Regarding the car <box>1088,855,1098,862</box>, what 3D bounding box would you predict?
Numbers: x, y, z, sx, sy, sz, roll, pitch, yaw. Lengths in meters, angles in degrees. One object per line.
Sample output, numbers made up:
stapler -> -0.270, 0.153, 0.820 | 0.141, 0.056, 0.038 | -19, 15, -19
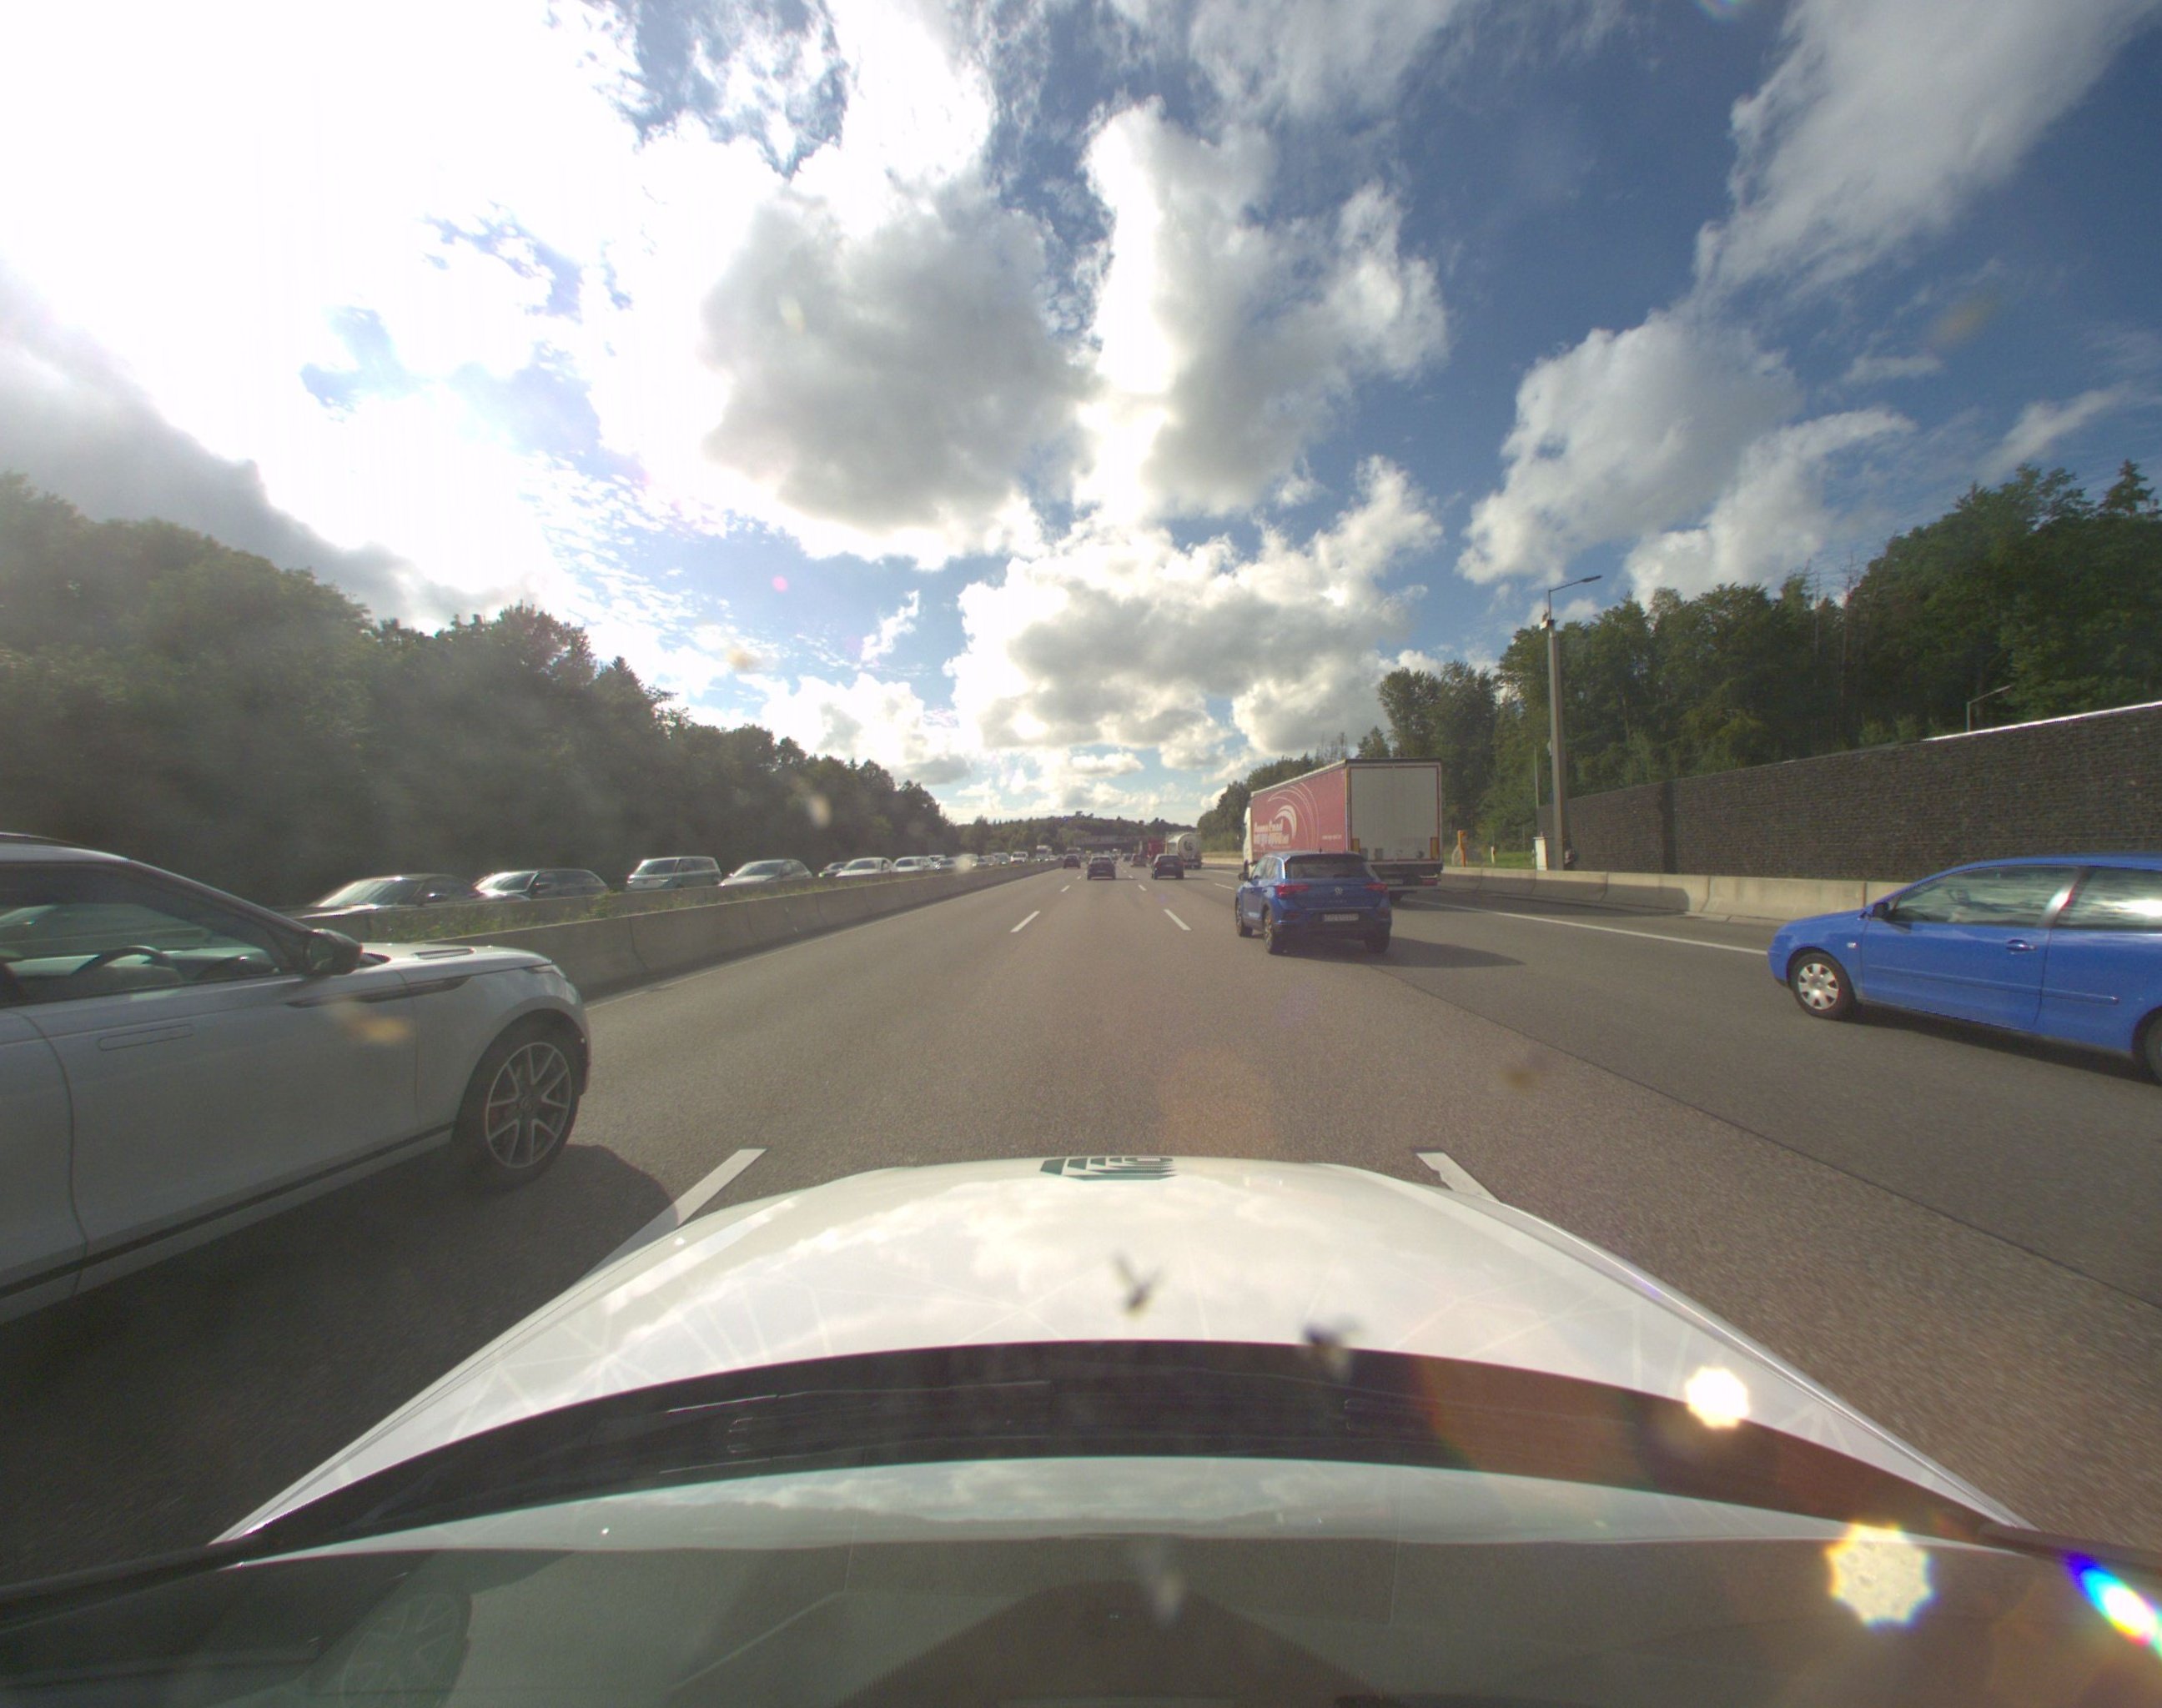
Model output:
car -> 2.916, 1.086, 197.834 | 2.146, 1.776, 4.002 | 0, -1, 2

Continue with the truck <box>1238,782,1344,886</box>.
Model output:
truck -> 8.787, -0.691, 34.812 | 3.069, 4.064, 6.071 | 0, -2, 1

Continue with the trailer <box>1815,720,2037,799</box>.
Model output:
trailer -> 28.209, -3.066, 27.508 | 2.196, 2.013, 4.970 | -2, 0, -3

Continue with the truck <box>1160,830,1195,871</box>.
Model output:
truck -> 10.357, -0.309, 88.088 | 3.034, 4.160, 7.129 | -1, -1, 2

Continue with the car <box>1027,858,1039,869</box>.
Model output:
car -> -9.379, 1.859, 158.884 | 1.985, 2.014, 4.002 | -1, -2, 3

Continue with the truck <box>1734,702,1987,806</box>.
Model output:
truck -> 21.044, -2.588, 22.439 | 1.985, 2.014, 5.411 | -1, -2, 3

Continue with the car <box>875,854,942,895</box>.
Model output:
car -> -8.273, 1.011, 39.520 | 1.985, 1.864, 4.554 | -1, -2, 4

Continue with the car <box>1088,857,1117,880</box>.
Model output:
car -> 1.300, 0.901, 50.255 | 1.728, 1.365, 3.999 | 0, -1, 0

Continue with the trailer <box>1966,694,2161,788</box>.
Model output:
trailer -> 28.441, -3.075, 21.455 | 2.125, 2.013, 7.280 | -2, 0, -2

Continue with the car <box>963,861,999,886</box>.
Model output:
car -> -7.795, 1.538, 64.020 | 1.985, 1.864, 4.554 | -1, -2, 4

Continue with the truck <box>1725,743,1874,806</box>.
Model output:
truck -> 27.997, -3.029, 31.931 | 2.210, 2.013, 3.996 | -2, 0, -3

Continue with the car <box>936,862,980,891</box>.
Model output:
car -> -8.116, 1.492, 54.193 | 1.985, 1.864, 4.554 | -1, -2, 4

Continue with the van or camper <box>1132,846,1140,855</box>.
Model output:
van or camper -> 16.153, -1.092, 238.527 | 2.076, 2.493, 4.226 | -1, 0, 1

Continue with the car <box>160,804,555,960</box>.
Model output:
car -> -9.693, 0.392, 11.460 | 1.811, 1.794, 4.002 | -1, -2, 3

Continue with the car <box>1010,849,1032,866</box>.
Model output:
car -> -7.010, 0.443, 95.499 | 1.985, 1.864, 4.554 | -1, -2, 4

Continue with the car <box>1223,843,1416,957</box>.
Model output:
car -> 3.727, 0.660, 13.685 | 1.917, 1.541, 4.645 | -1, -1, 1

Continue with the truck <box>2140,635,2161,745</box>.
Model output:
truck -> 21.258, -3.119, 13.520 | 2.138, 2.013, 4.001 | -2, 0, 1

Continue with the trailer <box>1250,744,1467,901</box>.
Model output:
trailer -> 8.607, -0.608, 27.961 | 3.027, 4.036, 13.892 | 0, -2, 2

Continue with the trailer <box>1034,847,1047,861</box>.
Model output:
trailer -> -9.647, 0.064, 195.383 | 2.274, 3.024, 7.610 | -1, -2, 3

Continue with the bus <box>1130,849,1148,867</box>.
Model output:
bus -> 6.755, 0.478, 94.949 | 1.986, 2.014, 4.001 | 0, -2, 2

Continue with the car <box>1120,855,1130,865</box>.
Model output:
car -> 9.045, 1.201, 167.044 | 1.986, 2.014, 4.001 | 0, -1, 1

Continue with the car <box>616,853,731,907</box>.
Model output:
car -> -16.381, 1.063, 33.046 | 1.985, 2.014, 4.857 | -1, -2, 3

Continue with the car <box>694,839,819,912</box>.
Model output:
car -> -9.670, 0.659, 24.674 | 1.985, 2.014, 4.002 | -1, -2, 3

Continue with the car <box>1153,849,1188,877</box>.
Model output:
car -> 5.350, 0.547, 49.025 | 1.792, 1.644, 4.002 | 0, -1, 2

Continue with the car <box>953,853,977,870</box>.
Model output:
car -> -14.153, 0.944, 99.398 | 1.985, 1.864, 4.554 | -1, -2, 4

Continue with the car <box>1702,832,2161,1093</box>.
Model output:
car -> 7.130, 0.608, 6.127 | 1.709, 1.511, 4.303 | -1, 0, 1

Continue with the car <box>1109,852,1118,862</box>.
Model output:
car -> 7.799, 0.737, 195.427 | 1.986, 2.014, 4.001 | -2, -2, 1

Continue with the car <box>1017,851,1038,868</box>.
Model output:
car -> -6.619, 0.705, 100.769 | 1.985, 1.864, 4.554 | -1, -2, 4

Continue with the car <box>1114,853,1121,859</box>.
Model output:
car -> 9.885, 0.563, 219.447 | 1.669, 1.592, 3.630 | -2, 0, 3

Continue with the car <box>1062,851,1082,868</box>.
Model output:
car -> -1.007, 0.600, 92.170 | 1.986, 1.776, 4.002 | -2, 0, 2

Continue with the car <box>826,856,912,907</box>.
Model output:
car -> -8.277, 1.100, 32.278 | 1.949, 1.864, 4.554 | -1, -2, 4

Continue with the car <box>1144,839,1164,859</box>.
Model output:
car -> 11.482, -0.791, 128.676 | 2.855, 2.992, 5.152 | -1, -2, 3

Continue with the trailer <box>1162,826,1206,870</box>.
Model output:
trailer -> 10.181, -0.430, 81.956 | 3.025, 4.016, 12.246 | -1, -1, 1

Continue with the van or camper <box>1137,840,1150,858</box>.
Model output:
van or camper -> 11.968, -0.972, 155.439 | 2.342, 3.144, 5.714 | -1, -2, 3

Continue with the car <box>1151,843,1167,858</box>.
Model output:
car -> 11.301, -0.461, 118.604 | 1.986, 2.014, 4.001 | 0, -2, 1

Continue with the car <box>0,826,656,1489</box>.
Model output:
car -> -3.569, 0.755, 2.374 | 1.893, 1.607, 5.106 | -1, -1, 1

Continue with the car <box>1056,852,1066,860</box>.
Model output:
car -> -5.069, 0.590, 206.134 | 1.985, 2.013, 4.003 | -1, 0, 3

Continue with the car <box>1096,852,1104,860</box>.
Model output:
car -> 5.261, 0.566, 227.025 | 1.987, 2.014, 3.998 | 0, 0, -1
